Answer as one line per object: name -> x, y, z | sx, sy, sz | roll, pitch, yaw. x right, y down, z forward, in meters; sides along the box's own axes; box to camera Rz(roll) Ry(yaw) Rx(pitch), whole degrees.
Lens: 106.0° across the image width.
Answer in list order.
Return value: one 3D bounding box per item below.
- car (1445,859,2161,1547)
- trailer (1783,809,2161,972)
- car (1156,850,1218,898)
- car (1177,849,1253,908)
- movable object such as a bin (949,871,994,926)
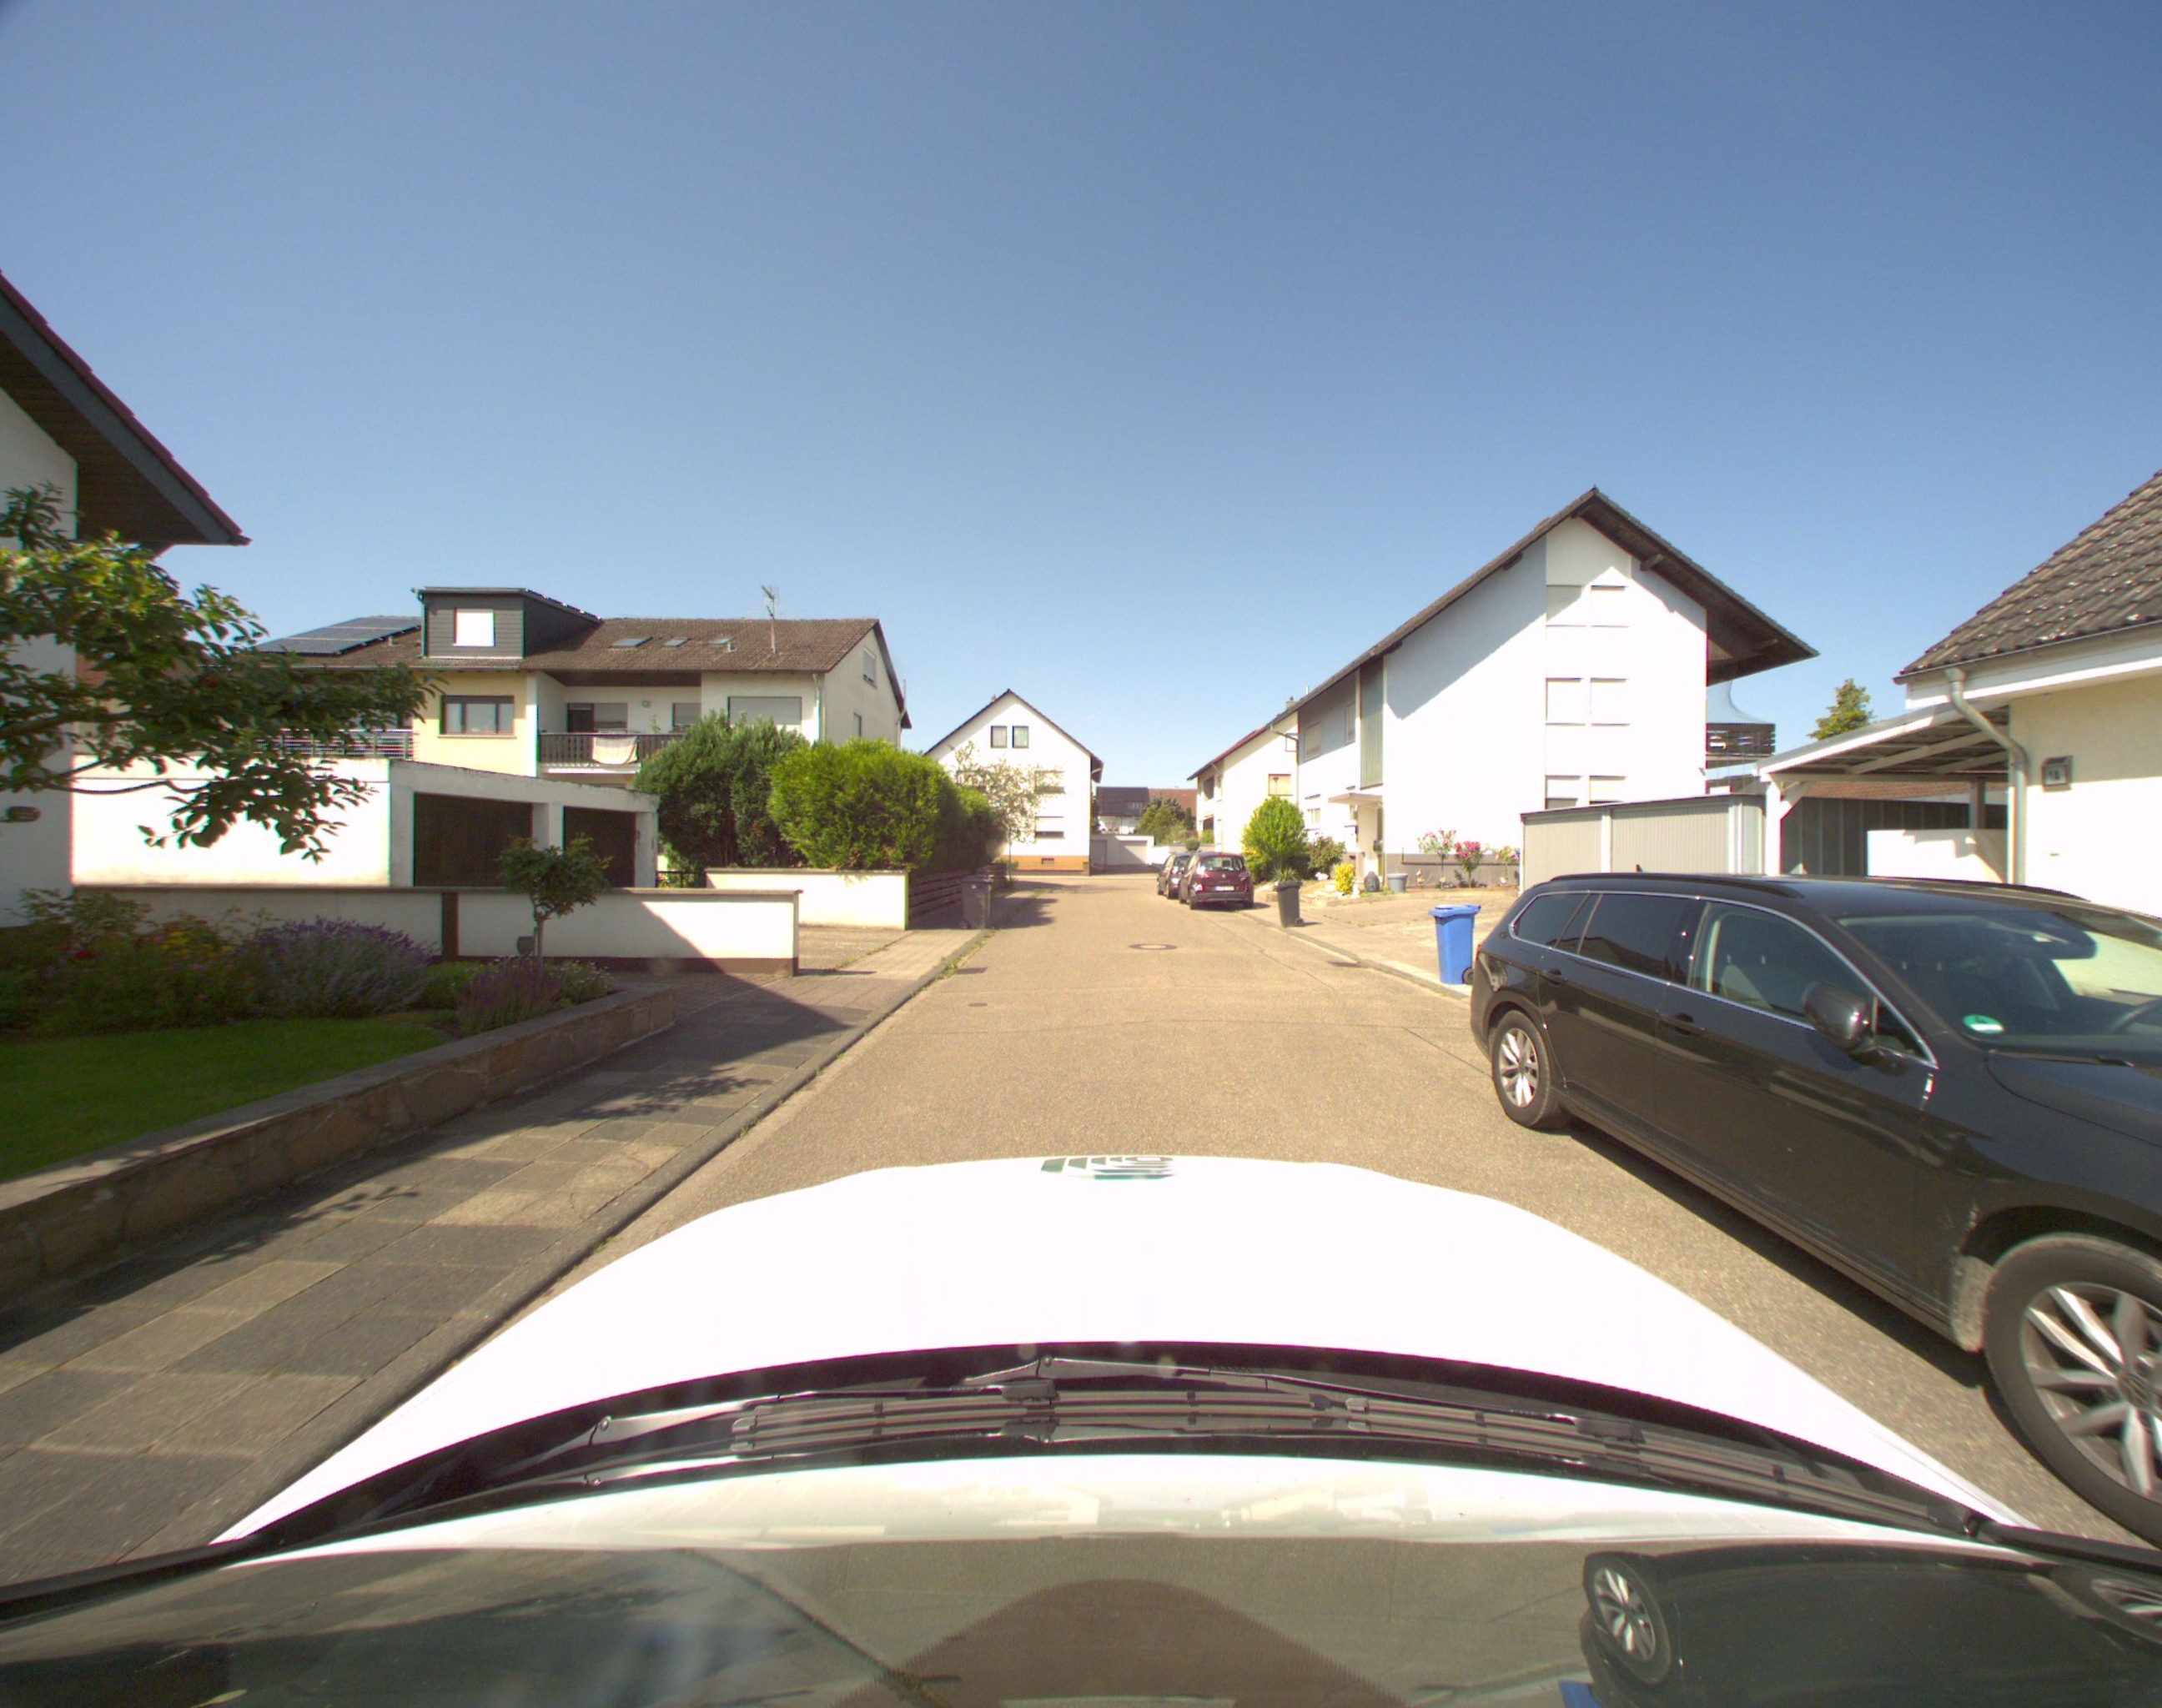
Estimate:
car -> 3.269, 0.771, 3.352 | 1.710, 1.438, 4.506 | 0, 0, 3
trailer -> 9.989, 0.377, 9.247 | 2.824, 1.690, 1.403 | -1, 0, 1
car -> 3.720, 0.652, 29.100 | 1.640, 1.546, 4.046 | -1, 0, -1
car -> 3.886, 0.658, 24.143 | 1.639, 1.581, 4.148 | -1, 0, 1
movable object such as a bin -> -2.209, 0.883, 16.508 | 0.815, 1.063, 0.611 | -1, 0, 0
